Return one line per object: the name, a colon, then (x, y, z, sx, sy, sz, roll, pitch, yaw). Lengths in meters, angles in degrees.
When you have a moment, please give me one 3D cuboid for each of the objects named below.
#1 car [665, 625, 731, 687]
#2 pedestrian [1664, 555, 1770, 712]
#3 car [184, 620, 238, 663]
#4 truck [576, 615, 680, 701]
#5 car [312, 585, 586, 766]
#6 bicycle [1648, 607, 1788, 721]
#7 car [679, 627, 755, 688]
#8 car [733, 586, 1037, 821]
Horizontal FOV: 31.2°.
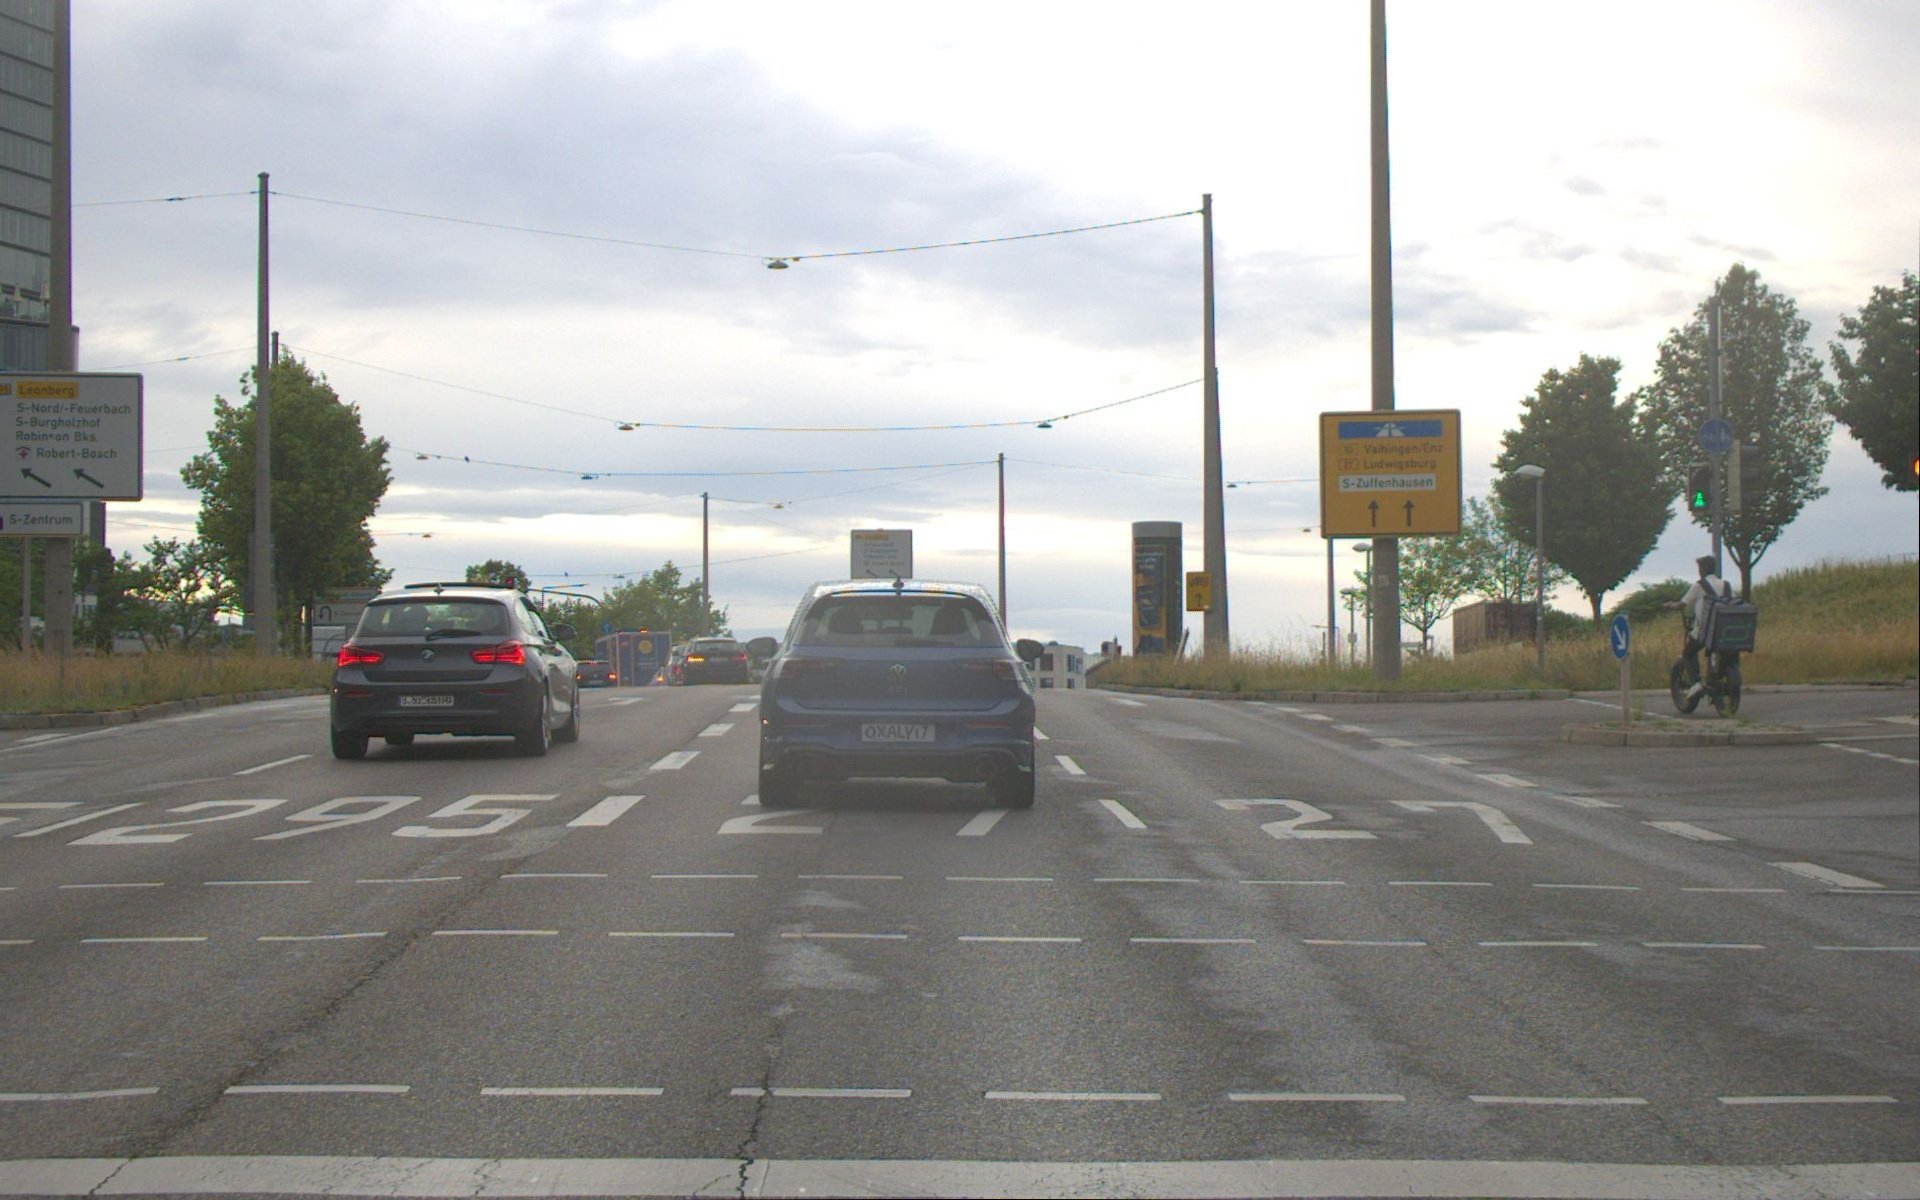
car: (-9.127, 1.963, 119.263, 1.904, 1.966, 5.092, -1, -3, -8)
pedestrian: (7.849, 0.344, 35.672, 0.632, 1.565, 0.896, -4, 0, -13)
car: (-29.963, 1.661, 137.474, 1.892, 1.653, 4.606, 1, -2, -15)
truck: (-13.112, 2.332, 135.398, 2.665, 3.209, 6.550, 2, -2, -18)
car: (-4.350, 0.601, 29.802, 1.869, 1.456, 3.976, 0, 0, -1)
bicycle: (7.857, 0.666, 35.715, 0.632, 1.101, 1.753, -5, 0, -13)
car: (-6.656, 1.556, 94.494, 1.722, 1.536, 3.703, 2, 0, 1)
car: (-0.457, 0.621, 22.911, 1.838, 1.389, 4.000, 1, 0, 0)
